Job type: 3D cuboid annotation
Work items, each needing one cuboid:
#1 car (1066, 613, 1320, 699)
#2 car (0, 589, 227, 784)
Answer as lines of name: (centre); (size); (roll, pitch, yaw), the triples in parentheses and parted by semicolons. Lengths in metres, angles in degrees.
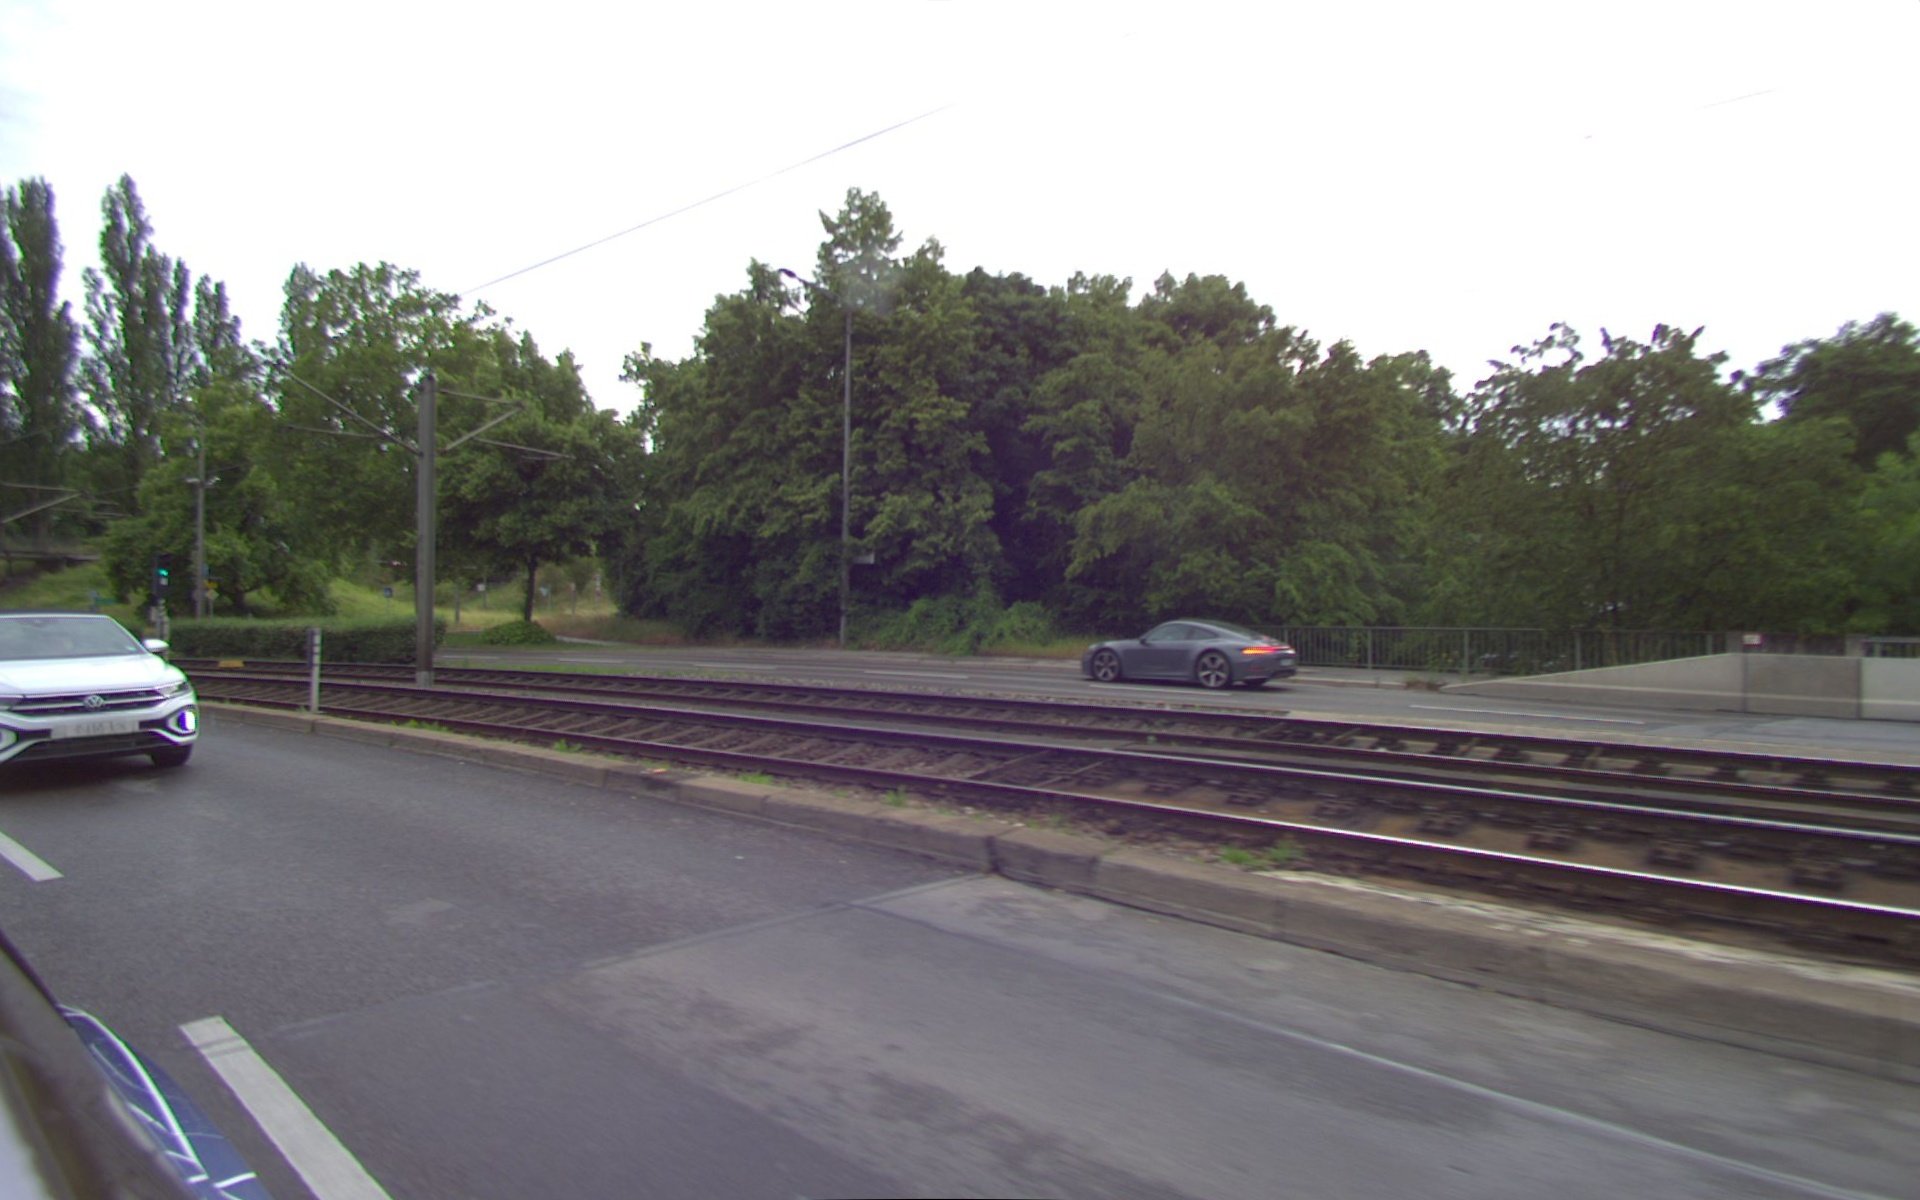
car: (4.502, 1.008, 20.034); (4.617, 1.324, 1.817); (2, 2, 41)
car: (-9.117, 0.738, 9.804); (4.528, 1.536, 1.856); (-2, -2, 34)
